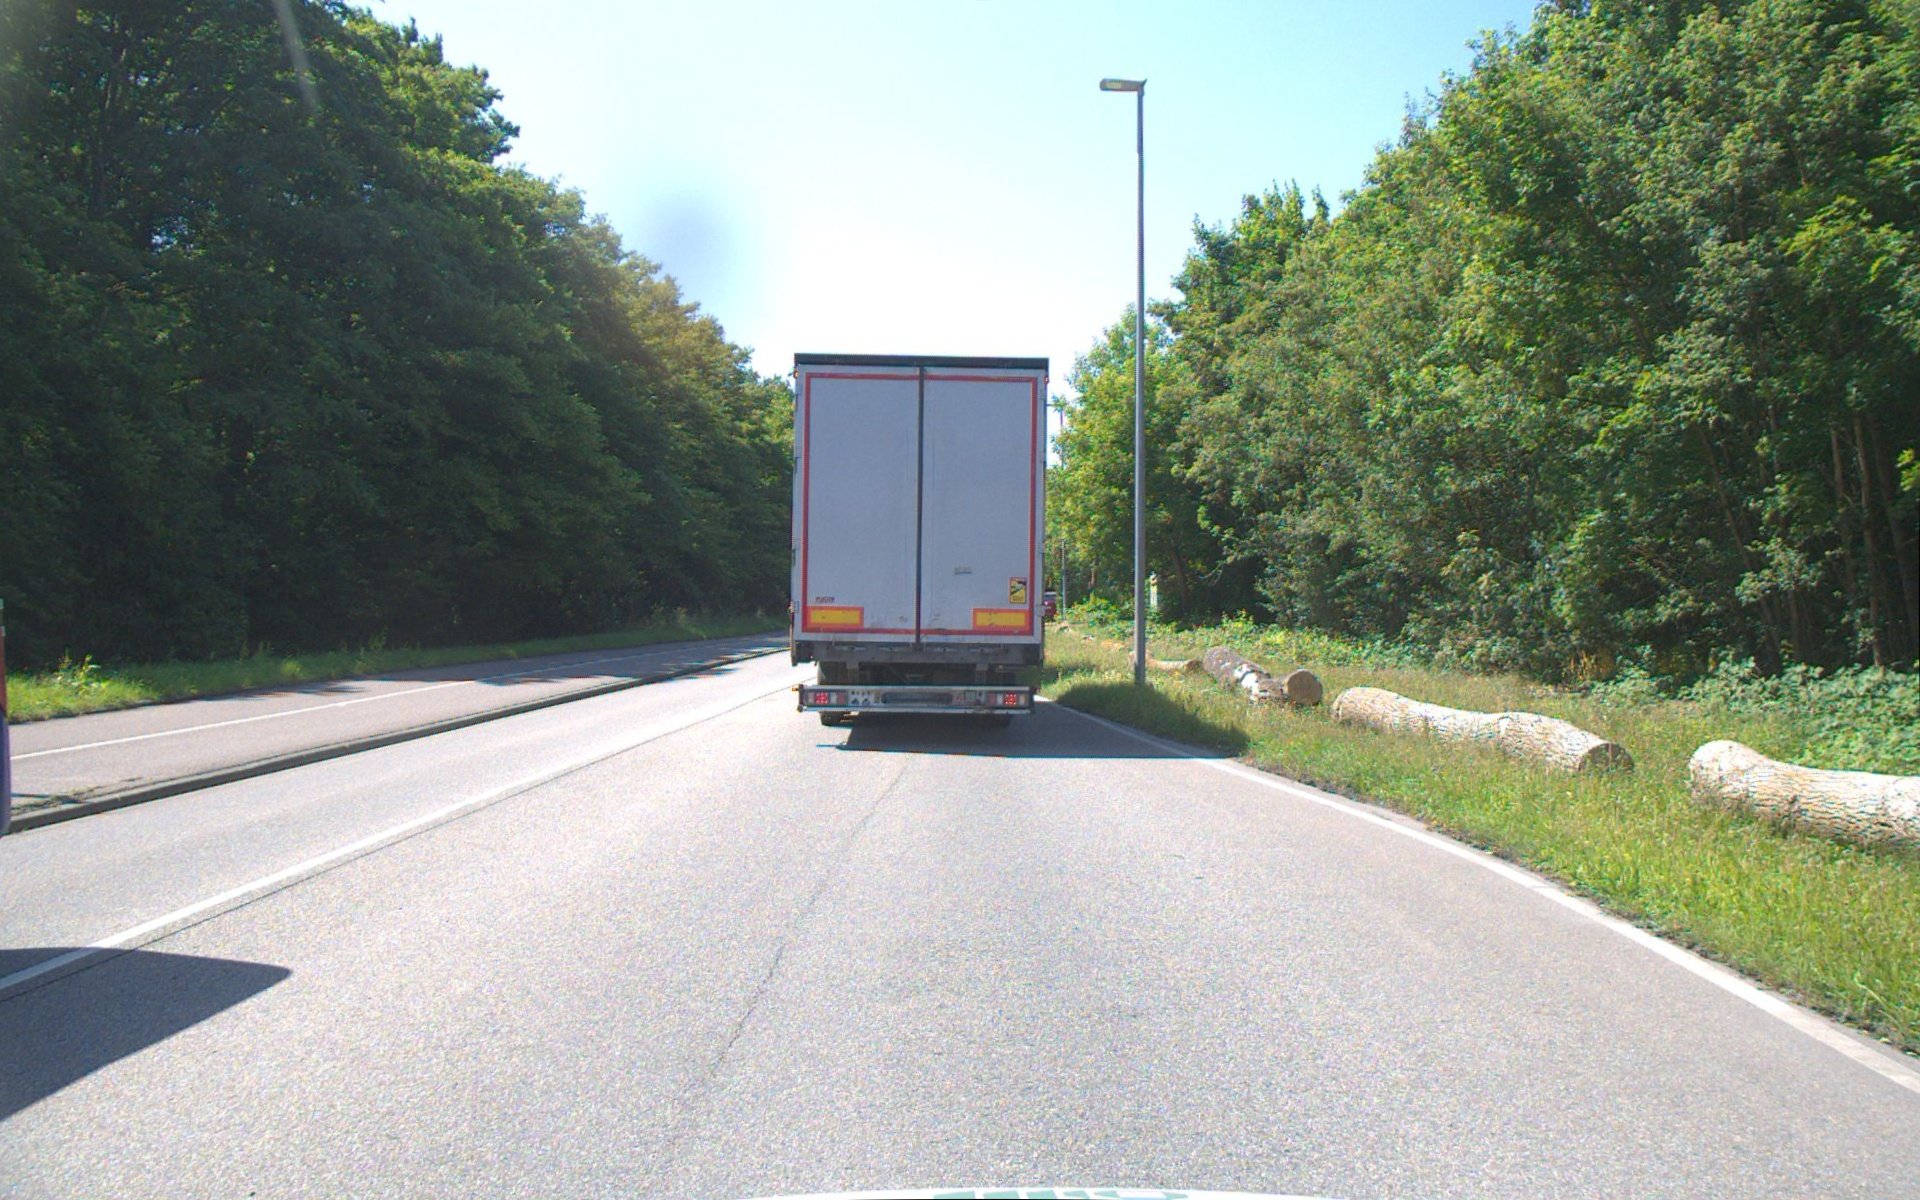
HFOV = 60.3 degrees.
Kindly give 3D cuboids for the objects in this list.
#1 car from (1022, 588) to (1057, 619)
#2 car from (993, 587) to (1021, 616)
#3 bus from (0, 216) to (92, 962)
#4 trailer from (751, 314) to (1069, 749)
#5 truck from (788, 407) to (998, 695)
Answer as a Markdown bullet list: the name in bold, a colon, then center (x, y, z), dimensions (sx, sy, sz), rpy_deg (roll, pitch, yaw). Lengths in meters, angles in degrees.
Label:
- **car**: center (3.985, 0.168, 83.620), dimensions (1.675, 1.557, 3.851), rpy_deg (0, 0, 2)
- **car**: center (3.445, 0.109, 120.344), dimensions (1.952, 2.049, 4.001), rpy_deg (-1, 0, 1)
- **bus**: center (-5.433, 0.041, 1.406), dimensions (2.693, 3.098, 11.940), rpy_deg (-4, 0, 1)
- **trailer**: center (-0.764, -0.673, 20.779), dimensions (3.016, 4.141, 9.802), rpy_deg (1, 0, -3)
- **truck**: center (-1.202, -0.743, 27.872), dimensions (3.016, 4.141, 7.953), rpy_deg (0, 0, -4)
